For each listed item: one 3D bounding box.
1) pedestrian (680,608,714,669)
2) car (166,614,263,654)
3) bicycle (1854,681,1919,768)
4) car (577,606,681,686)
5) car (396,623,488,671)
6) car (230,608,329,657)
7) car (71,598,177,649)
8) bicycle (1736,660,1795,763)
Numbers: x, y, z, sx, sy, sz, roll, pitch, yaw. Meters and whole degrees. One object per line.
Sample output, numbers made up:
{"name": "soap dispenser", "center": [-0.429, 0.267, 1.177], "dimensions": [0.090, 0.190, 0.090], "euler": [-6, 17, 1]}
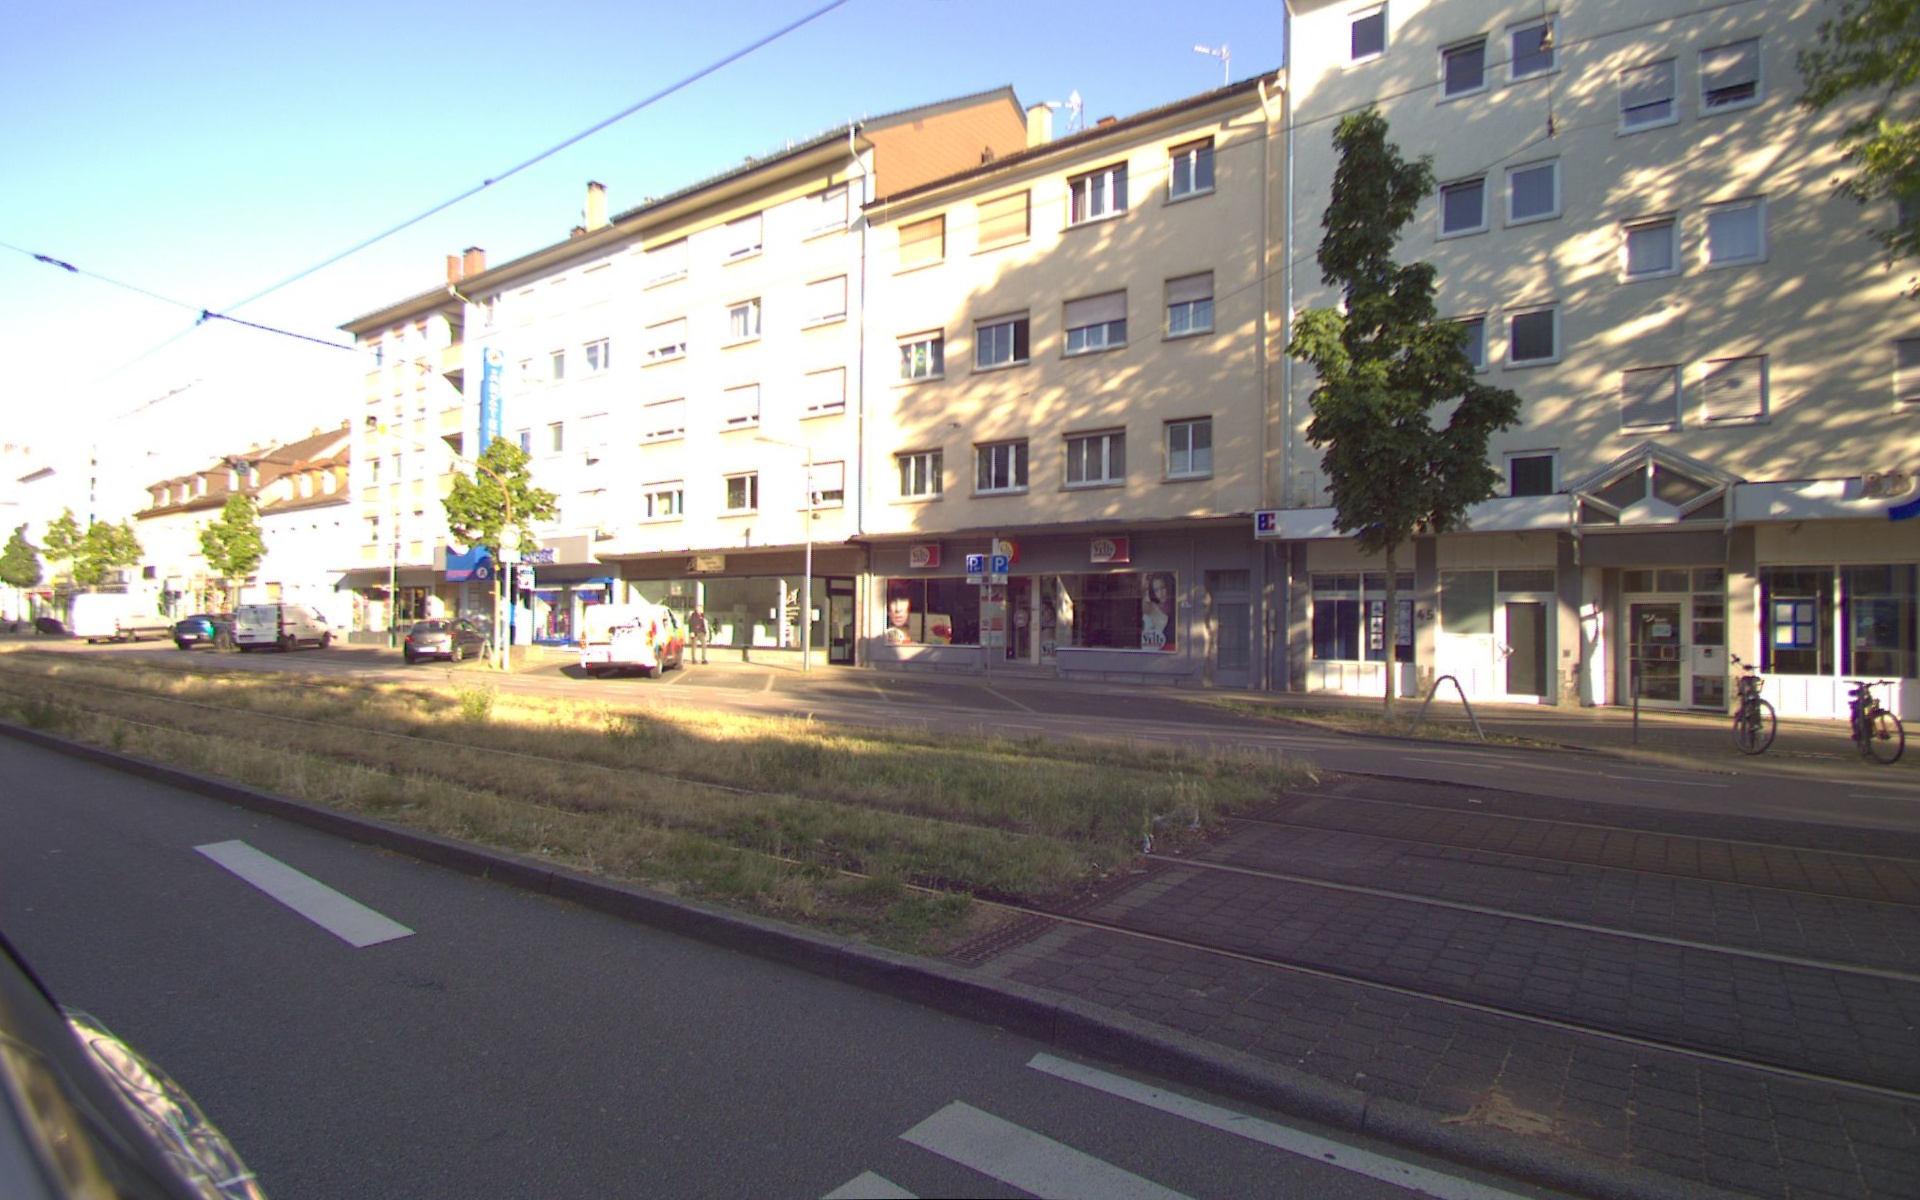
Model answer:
{"name": "pedestrian", "center": [-8.089, 1.168, 31.095], "dimensions": [0.745, 1.841, 0.919], "euler": [1, -1, -35]}
{"name": "car", "center": [-34.275, 1.512, 46.652], "dimensions": [1.830, 1.727, 3.919], "euler": [0, 0, -4]}
{"name": "bicycle", "center": [11.339, 1.487, 12.358], "dimensions": [0.471, 0.895, 1.724], "euler": [-1, -1, 36]}
{"name": "car", "center": [-8.775, 1.152, 27.123], "dimensions": [1.830, 1.913, 4.005], "euler": [0, 0, -6]}
{"name": "car", "center": [-17.523, 1.539, 34.414], "dimensions": [1.708, 1.450, 4.009], "euler": [0, 0, -10]}
{"name": "car", "center": [-28.629, 1.308, 42.744], "dimensions": [1.828, 1.952, 4.514], "euler": [0, 0, -10]}
{"name": "car", "center": [-45.363, 1.221, 55.130], "dimensions": [1.895, 2.634, 6.608], "euler": [0, 0, -16]}
{"name": "bicycle", "center": [10.305, 1.386, 12.980], "dimensions": [0.511, 1.147, 1.724], "euler": [-1, -1, 36]}
